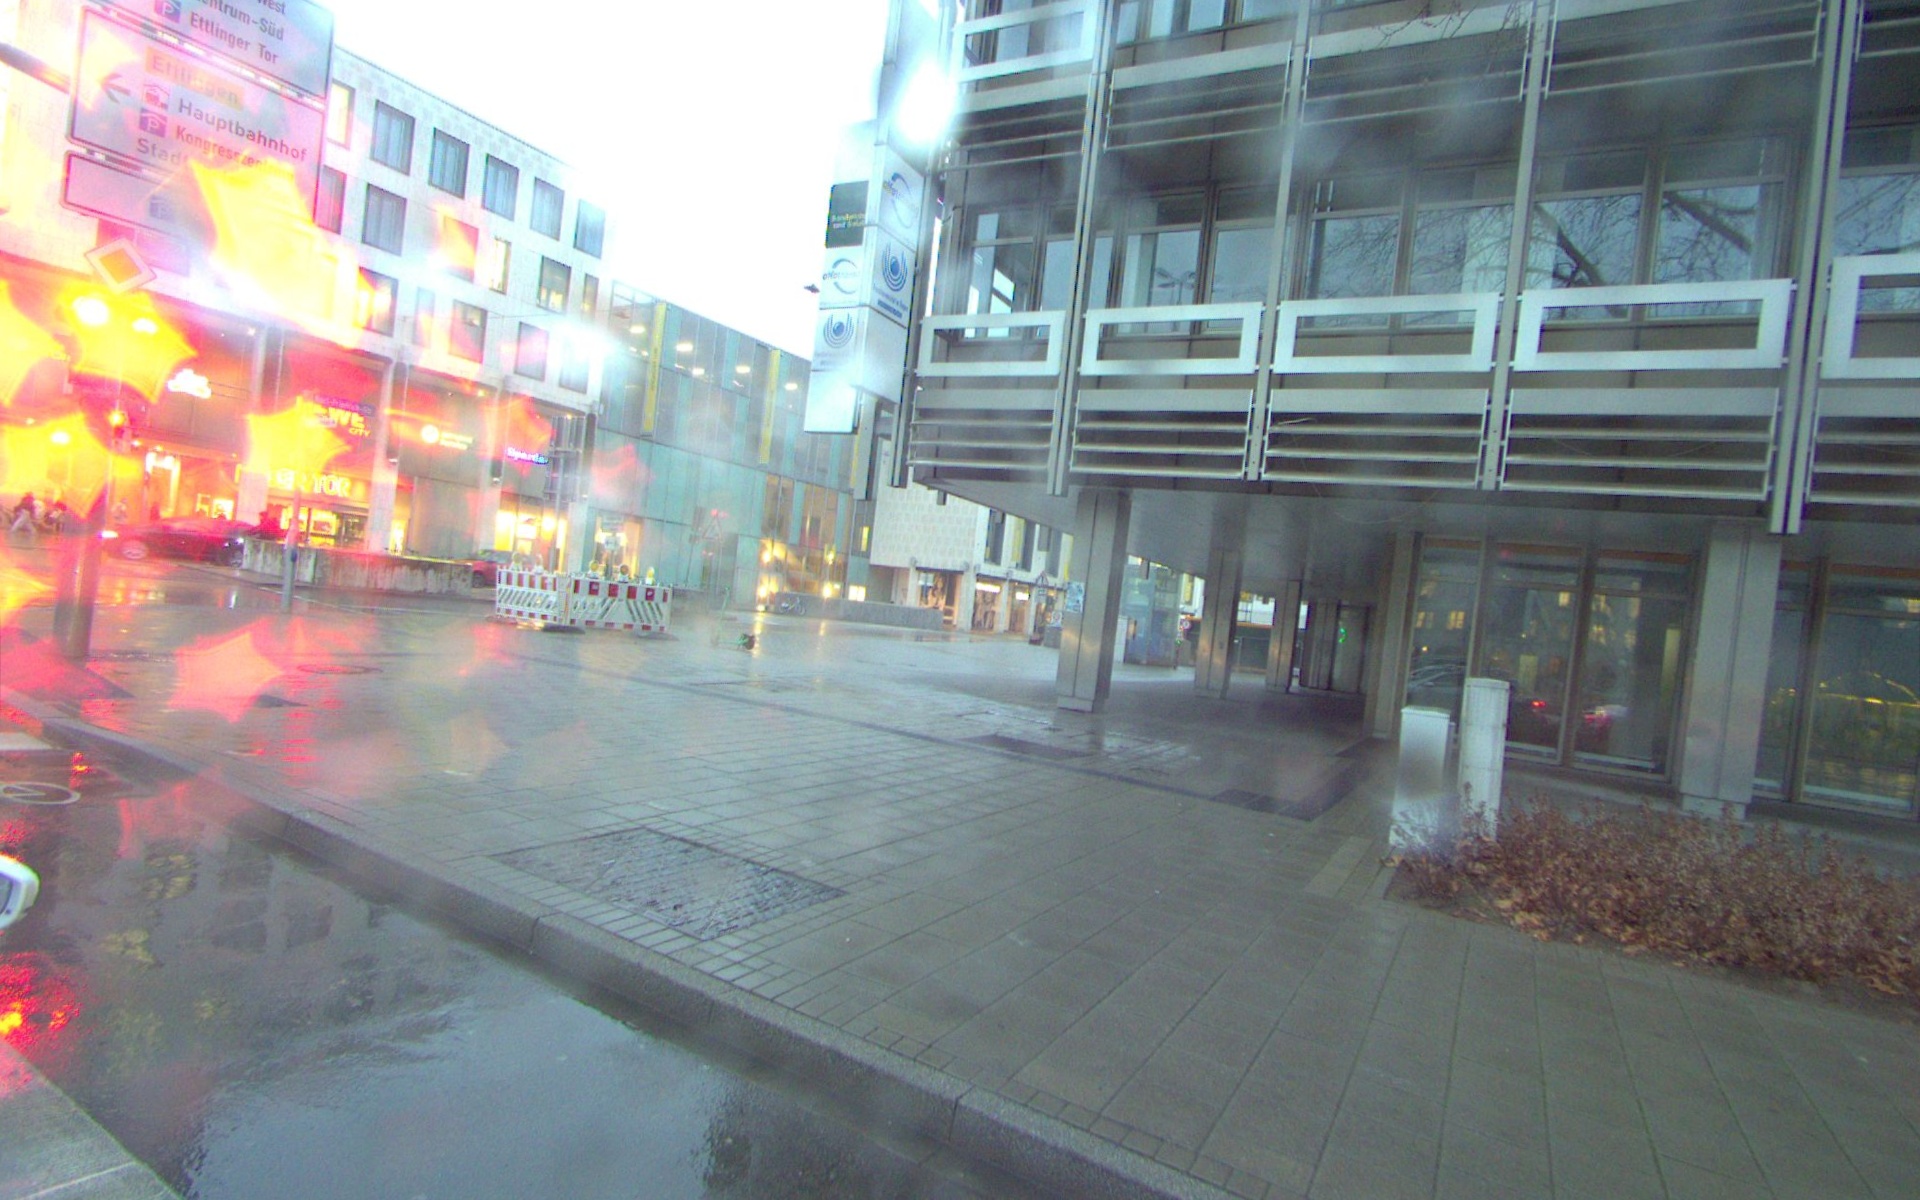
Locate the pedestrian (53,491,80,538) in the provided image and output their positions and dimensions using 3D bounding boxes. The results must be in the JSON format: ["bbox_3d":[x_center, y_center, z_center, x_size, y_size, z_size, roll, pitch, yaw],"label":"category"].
[{"bbox_3d":[-35.053,-3.340,39.458,0.529,1.739,0.500,6,1,-21],"label":"pedestrian"}]

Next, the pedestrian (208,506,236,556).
[{"bbox_3d":[-26.787,-2.493,36.521,0.529,1.706,0.546,6,1,-21],"label":"pedestrian"}]

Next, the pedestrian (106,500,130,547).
[{"bbox_3d":[-33.655,-3.051,40.223,0.368,1.782,0.512,7,1,31],"label":"pedestrian"}]

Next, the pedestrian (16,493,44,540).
[{"bbox_3d":[-35.660,-3.197,38.582,0.529,1.739,0.500,6,1,-21],"label":"pedestrian"}]

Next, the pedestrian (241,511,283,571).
[{"bbox_3d":[-20.138,-1.706,29.026,0.778,1.615,0.605,6,1,-43],"label":"pedestrian"}]

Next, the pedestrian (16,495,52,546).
[{"bbox_3d":[-34.646,-2.982,37.645,0.656,1.782,0.703,7,1,31],"label":"pedestrian"}]

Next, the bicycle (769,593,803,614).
[{"bbox_3d":[-10.694,0.211,61.861,2.101,1.046,0.616,6,0,33],"label":"bicycle"}]

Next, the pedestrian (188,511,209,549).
[{"bbox_3d":[-36.313,-3.327,47.972,0.529,1.739,0.500,6,1,-21],"label":"pedestrian"}]

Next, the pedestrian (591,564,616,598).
[{"bbox_3d":[-18.337,-0.969,51.757,0.697,1.650,0.795,6,-1,31],"label":"pedestrian"}]

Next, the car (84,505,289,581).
[{"bbox_3d":[-23.153,-1.671,30.257,1.771,1.593,4.532,7,-1,40],"label":"car"}]

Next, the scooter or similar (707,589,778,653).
[{"bbox_3d":[-4.392,0.421,20.276,1.215,1.144,0.606,7,0,32],"label":"scooter or similar"}]

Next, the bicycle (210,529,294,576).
[{"bbox_3d":[-20.333,-1.346,28.915,1.839,1.107,0.610,7,0,-44],"label":"bicycle"}]

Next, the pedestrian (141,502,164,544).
[{"bbox_3d":[-35.292,-3.359,43.961,0.529,1.739,0.500,6,1,-21],"label":"pedestrian"}]

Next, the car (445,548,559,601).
[{"bbox_3d":[-17.466,-0.949,38.483,1.648,1.601,3.575,6,-1,29],"label":"car"}]
